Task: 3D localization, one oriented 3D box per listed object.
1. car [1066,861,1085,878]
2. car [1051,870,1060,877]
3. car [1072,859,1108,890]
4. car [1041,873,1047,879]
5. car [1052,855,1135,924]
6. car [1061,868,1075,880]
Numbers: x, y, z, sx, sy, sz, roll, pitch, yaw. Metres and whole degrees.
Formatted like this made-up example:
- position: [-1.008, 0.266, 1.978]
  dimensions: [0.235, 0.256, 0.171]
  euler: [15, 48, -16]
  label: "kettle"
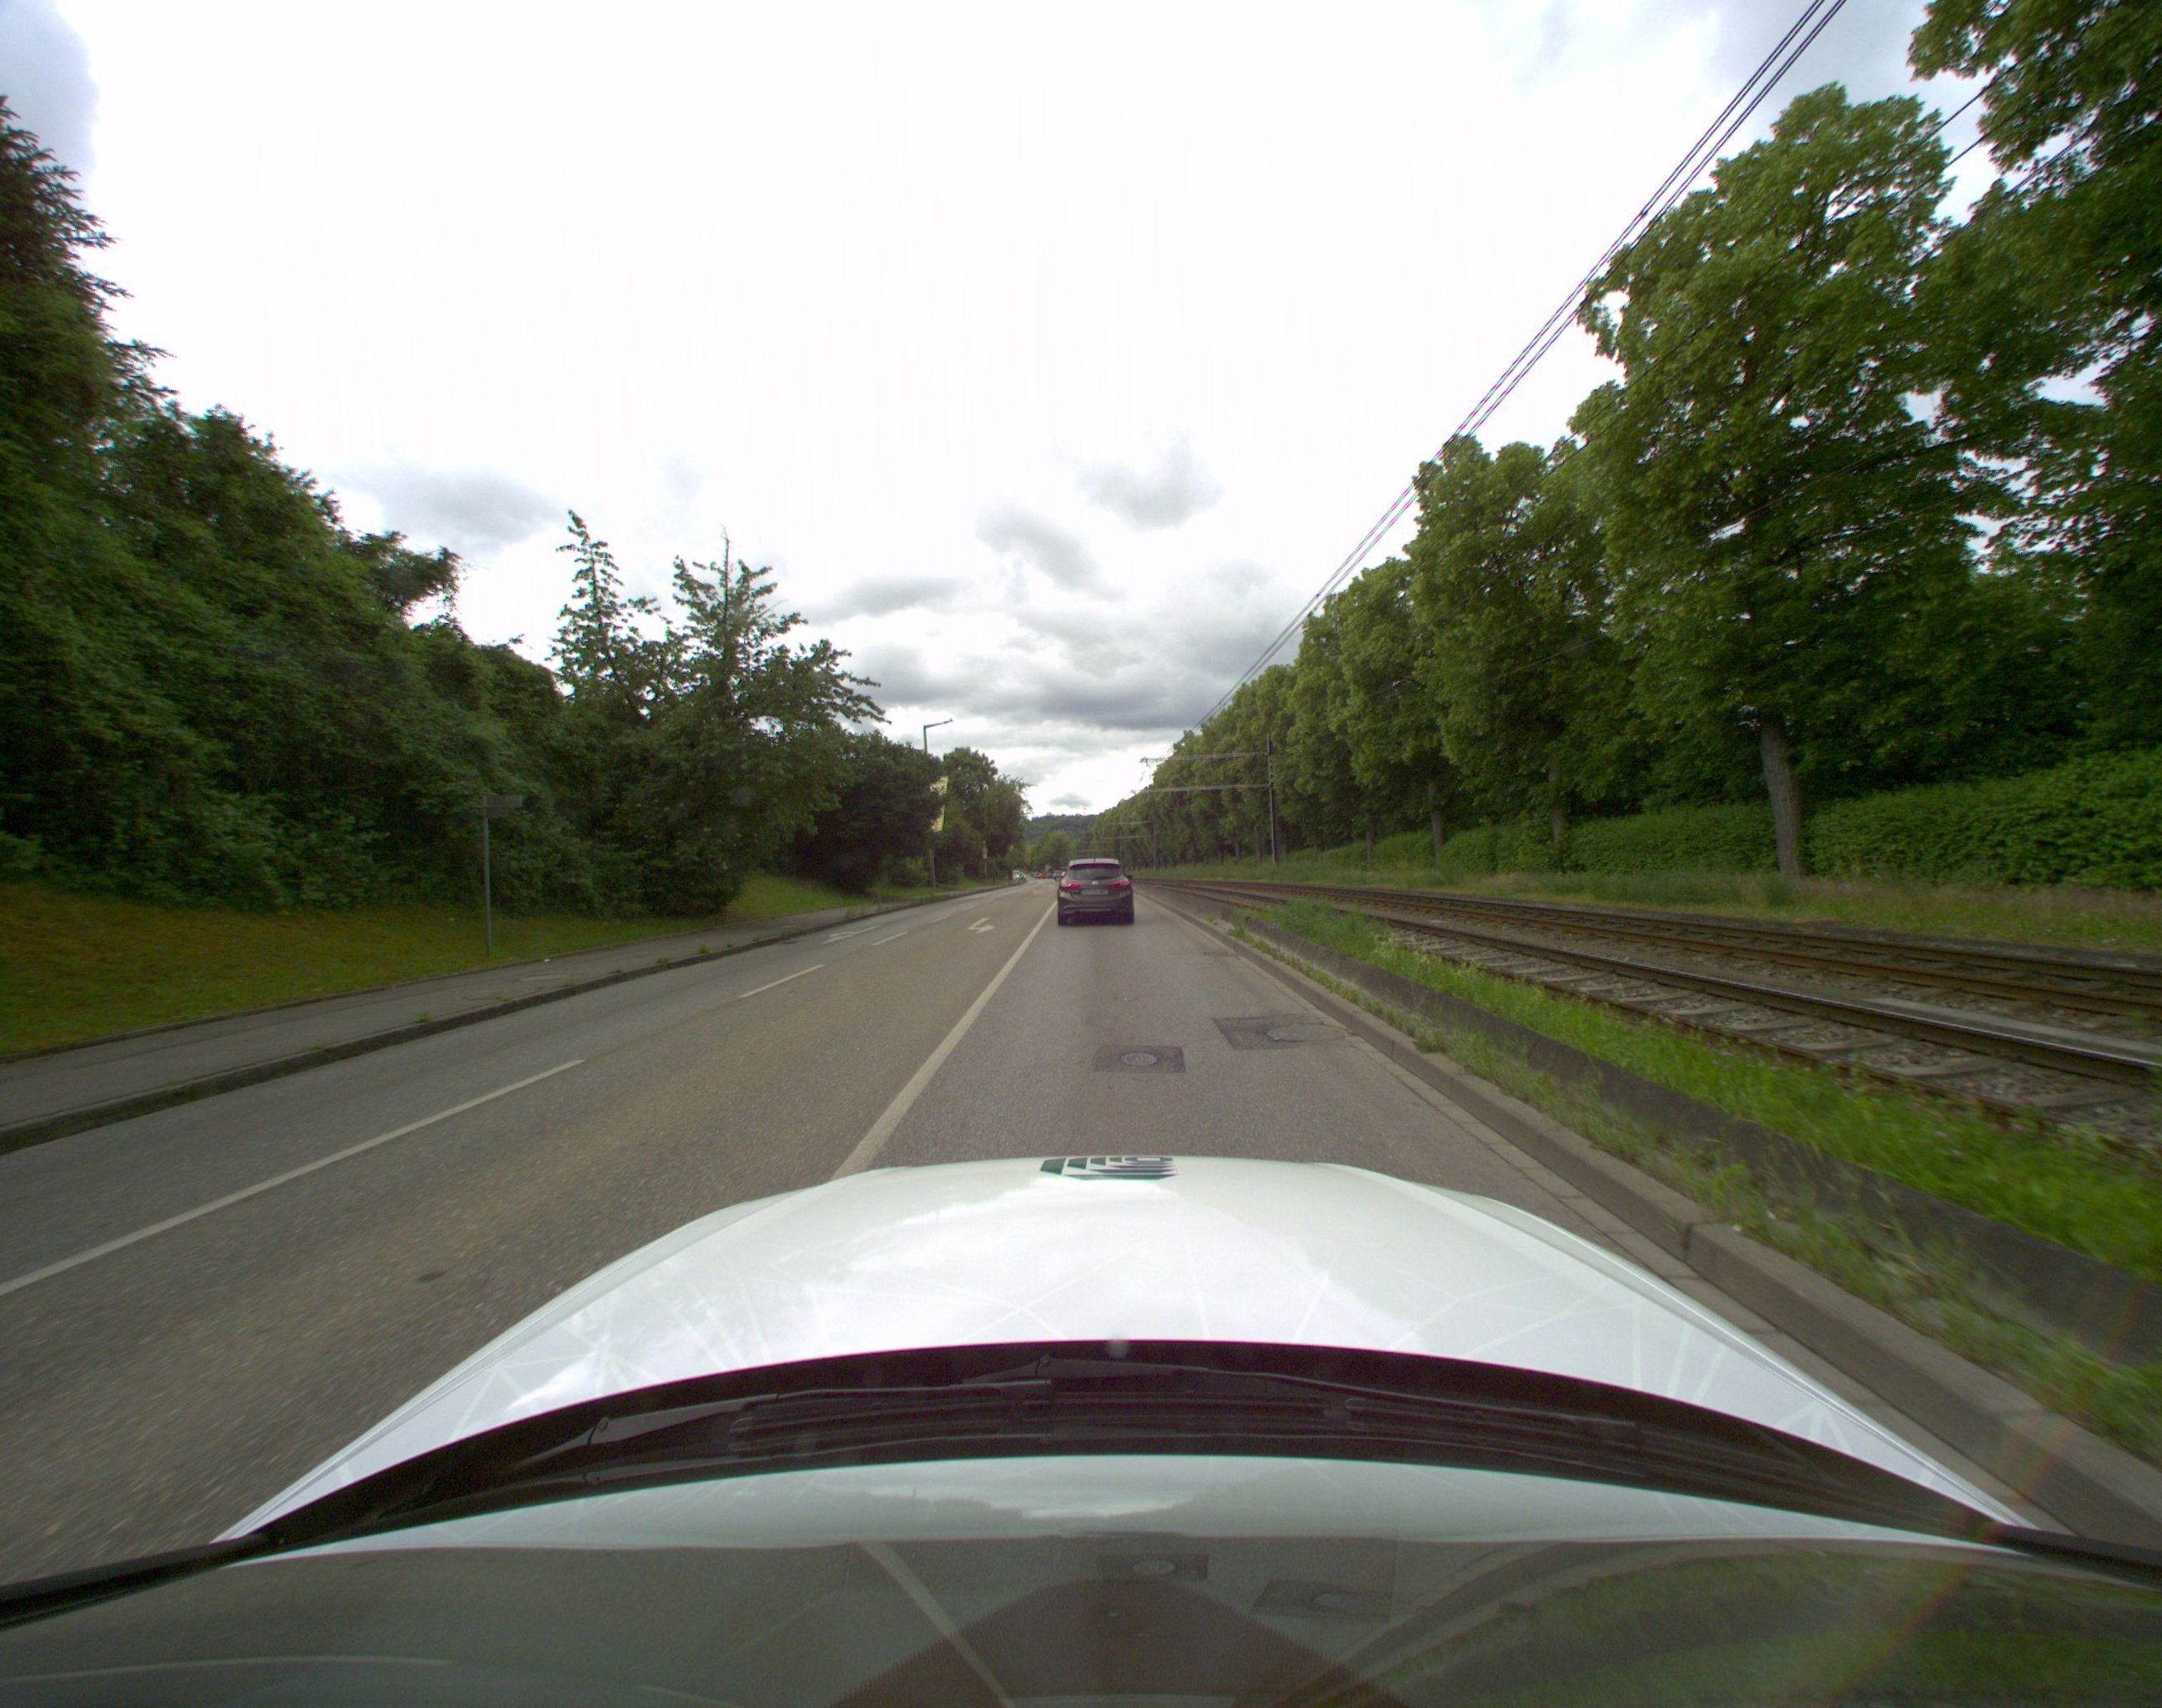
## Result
- position: [-0.520, 1.396, 73.813]
  dimensions: [1.695, 1.444, 3.998]
  euler: [-2, -2, -1]
  label: "car"
- position: [-5.542, 4.187, 176.406]
  dimensions: [1.789, 1.510, 3.997]
  euler: [-2, -2, -1]
  label: "car"
- position: [0.446, 1.057, 41.017]
  dimensions: [1.694, 1.444, 3.999]
  euler: [-2, -2, 0]
  label: "car"
- position: [-11.411, 6.805, 253.781]
  dimensions: [1.695, 1.714, 3.997]
  euler: [-2, -2, -1]
  label: "car"
- position: [0.307, 0.799, 20.162]
  dimensions: [1.844, 1.493, 4.000]
  euler: [-1, 0, 1]
  label: "car"
- position: [-1.749, 2.702, 109.257]
  dimensions: [1.695, 1.444, 3.997]
  euler: [-2, -2, -1]
  label: "car"
